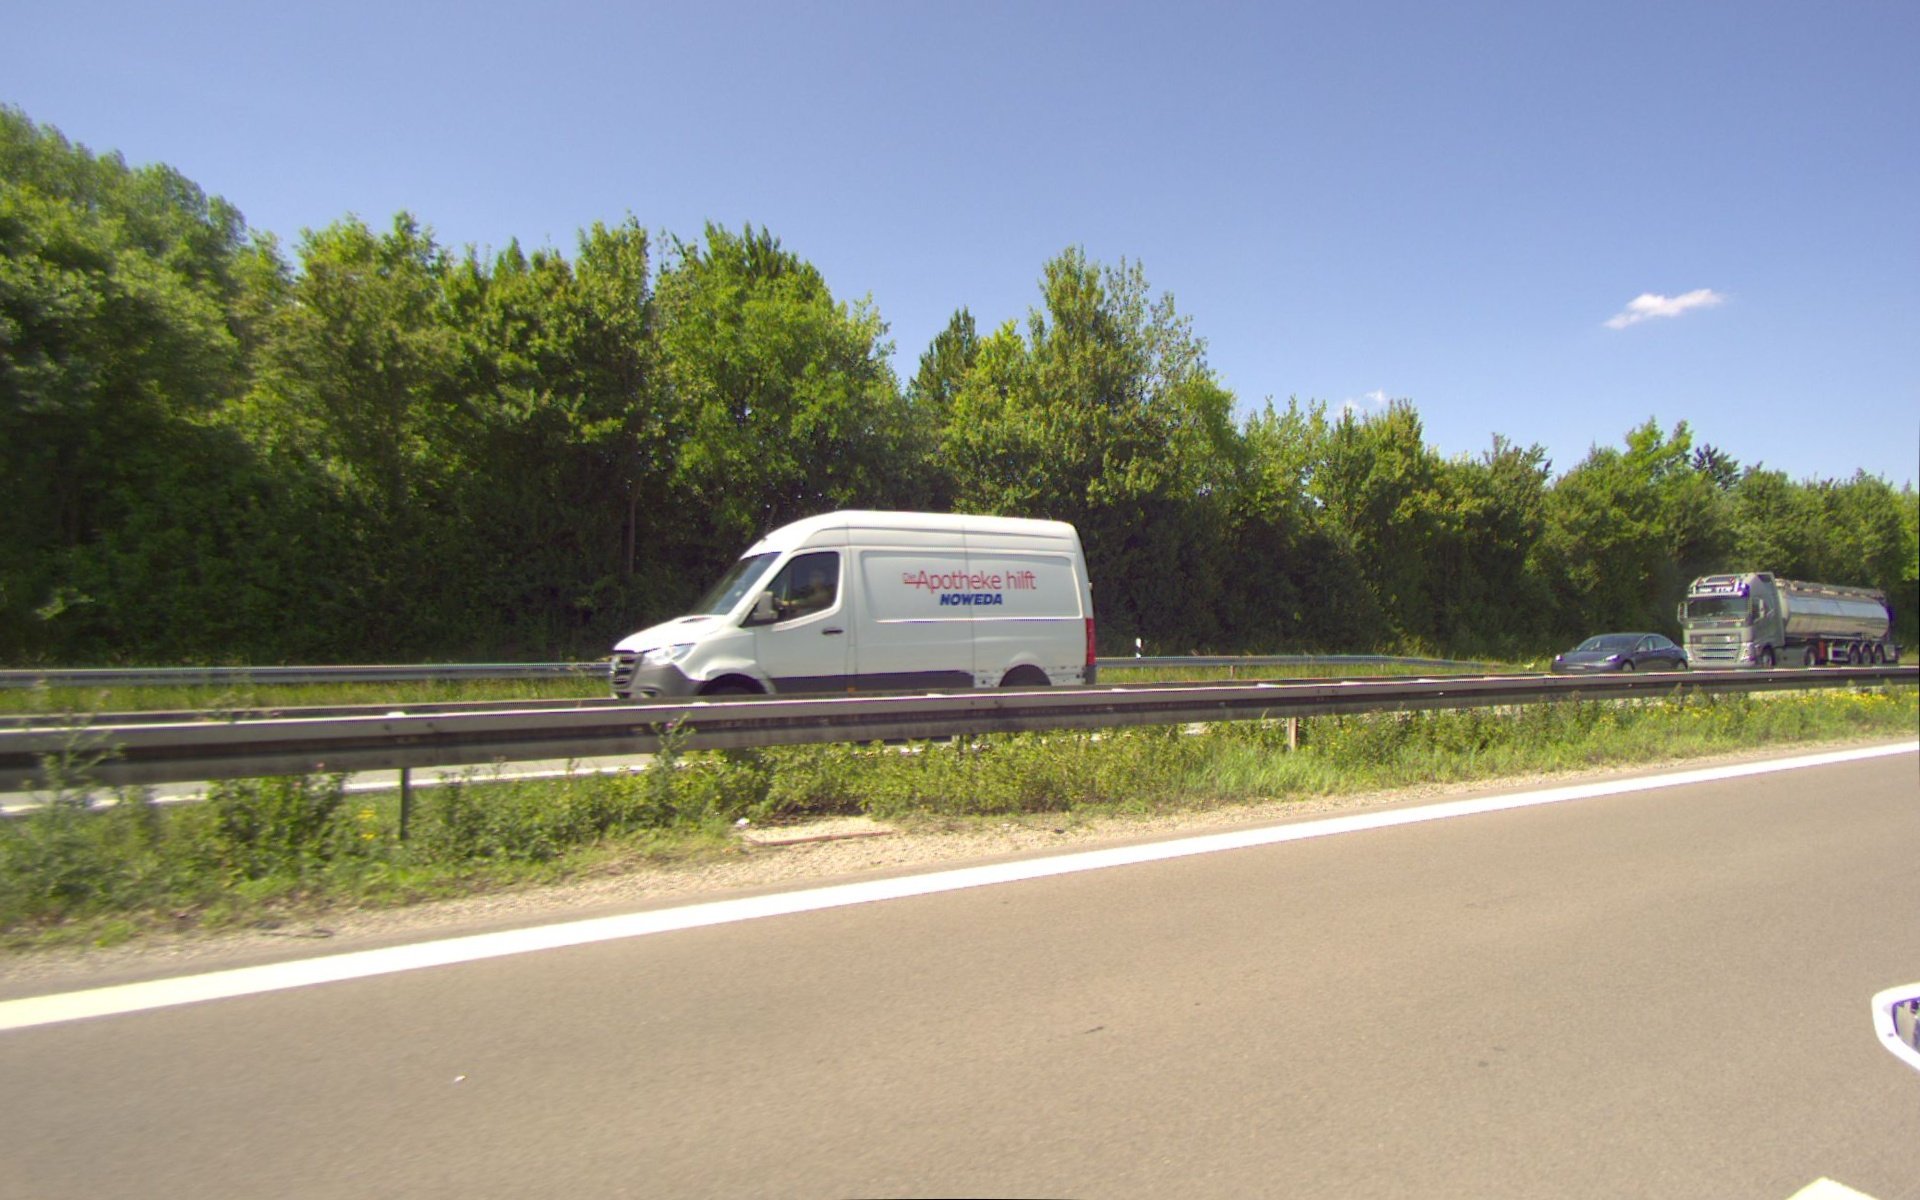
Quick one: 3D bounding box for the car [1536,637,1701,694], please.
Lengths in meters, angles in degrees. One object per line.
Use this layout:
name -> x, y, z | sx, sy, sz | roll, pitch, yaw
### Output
car -> 18.240, 1.753, 27.760 | 4.834, 1.434, 1.897 | 1, -2, -31

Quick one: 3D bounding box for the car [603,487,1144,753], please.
car -> -0.857, 0.279, 12.276 | 6.326, 2.589, 2.060 | 1, -2, -31

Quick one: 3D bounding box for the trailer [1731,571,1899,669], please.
trailer -> 37.695, 0.982, 44.184 | 9.350, 3.932, 2.753 | 1, -4, -31

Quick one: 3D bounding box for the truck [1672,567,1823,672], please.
truck -> 31.847, 0.860, 40.576 | 6.252, 3.932, 2.717 | 1, -4, -32
